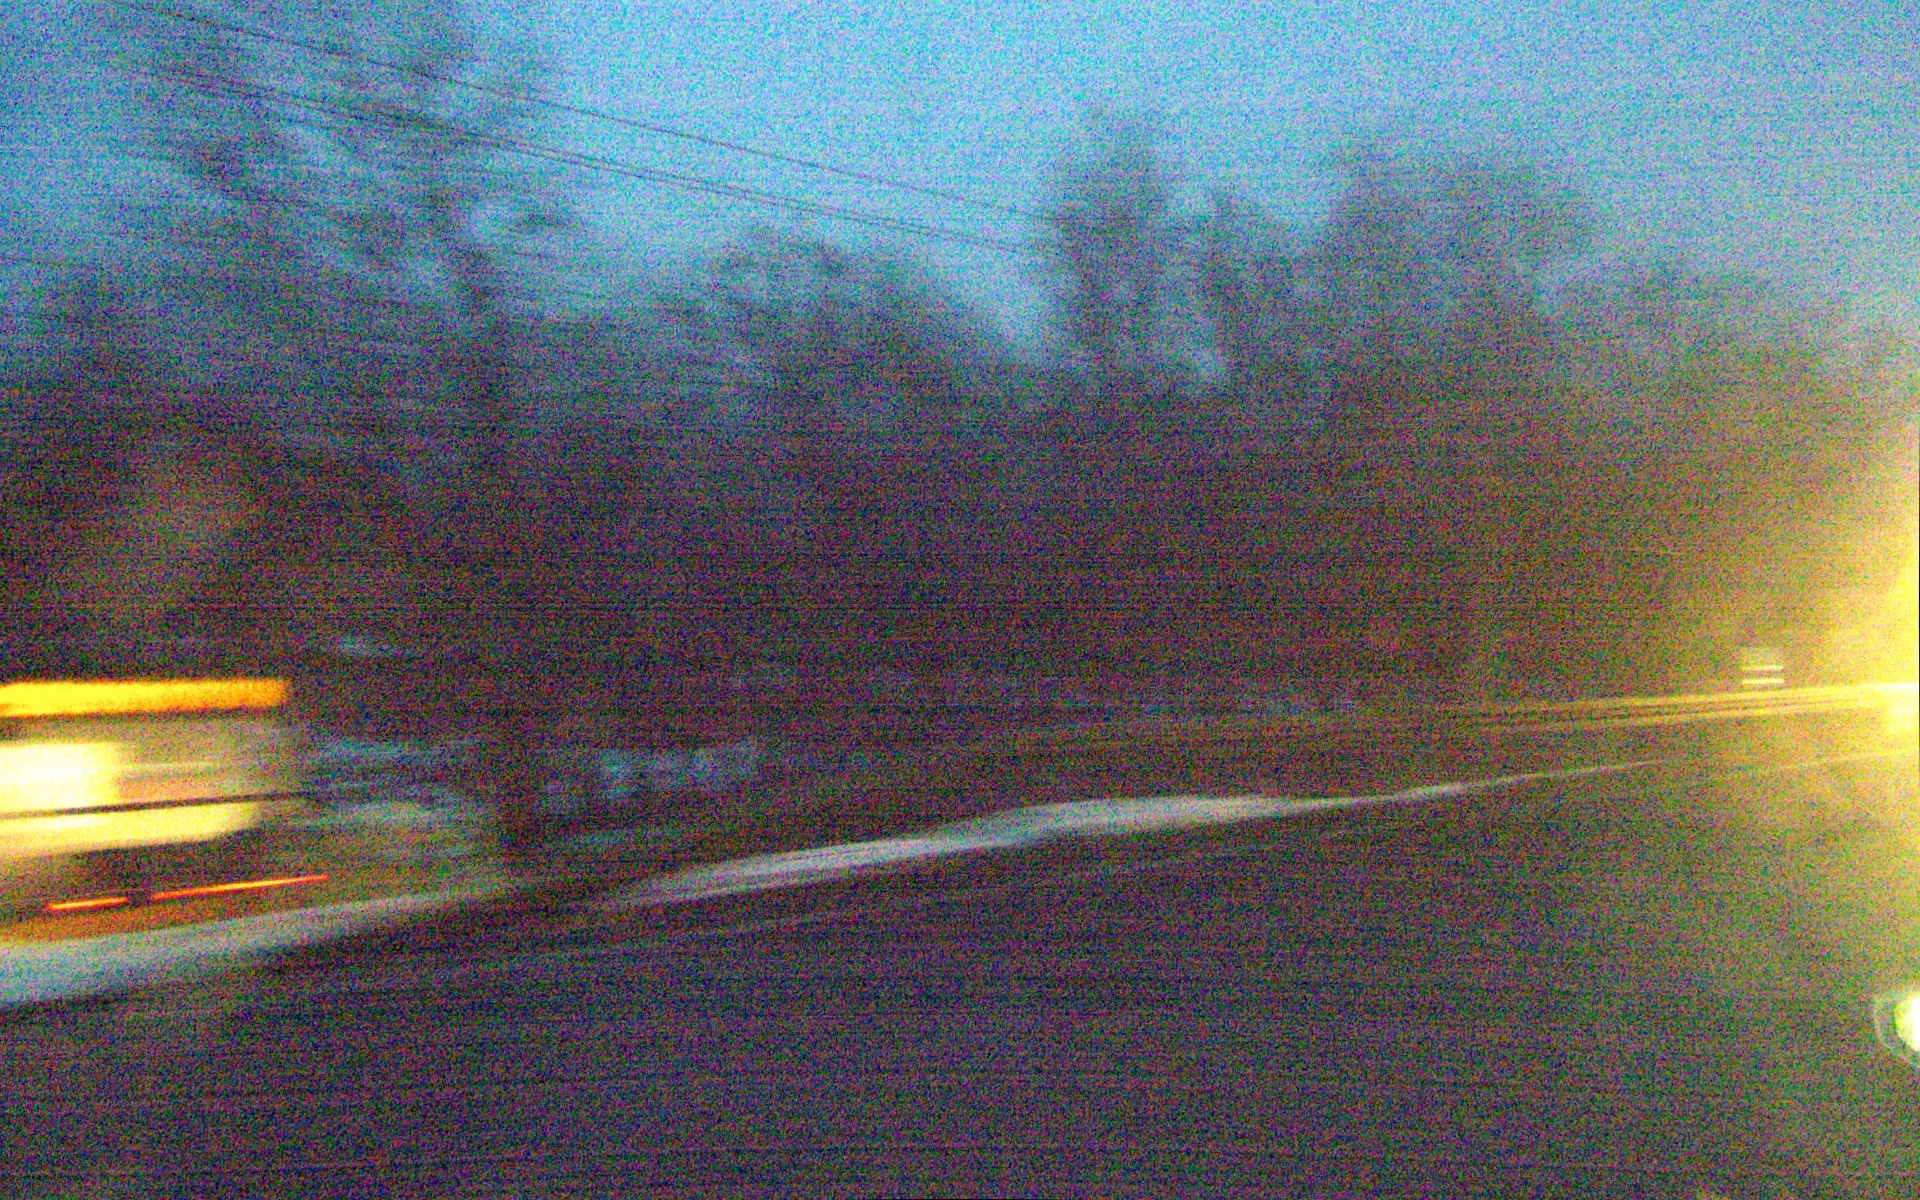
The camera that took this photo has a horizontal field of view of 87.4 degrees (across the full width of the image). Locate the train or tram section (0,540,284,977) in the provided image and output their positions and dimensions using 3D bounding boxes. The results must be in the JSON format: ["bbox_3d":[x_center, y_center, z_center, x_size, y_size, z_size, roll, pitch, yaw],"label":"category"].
[{"bbox_3d":[-10.588,1.241,7.956,8.455,3.506,2.829,1,-1,-31],"label":"train or tram section"}]
